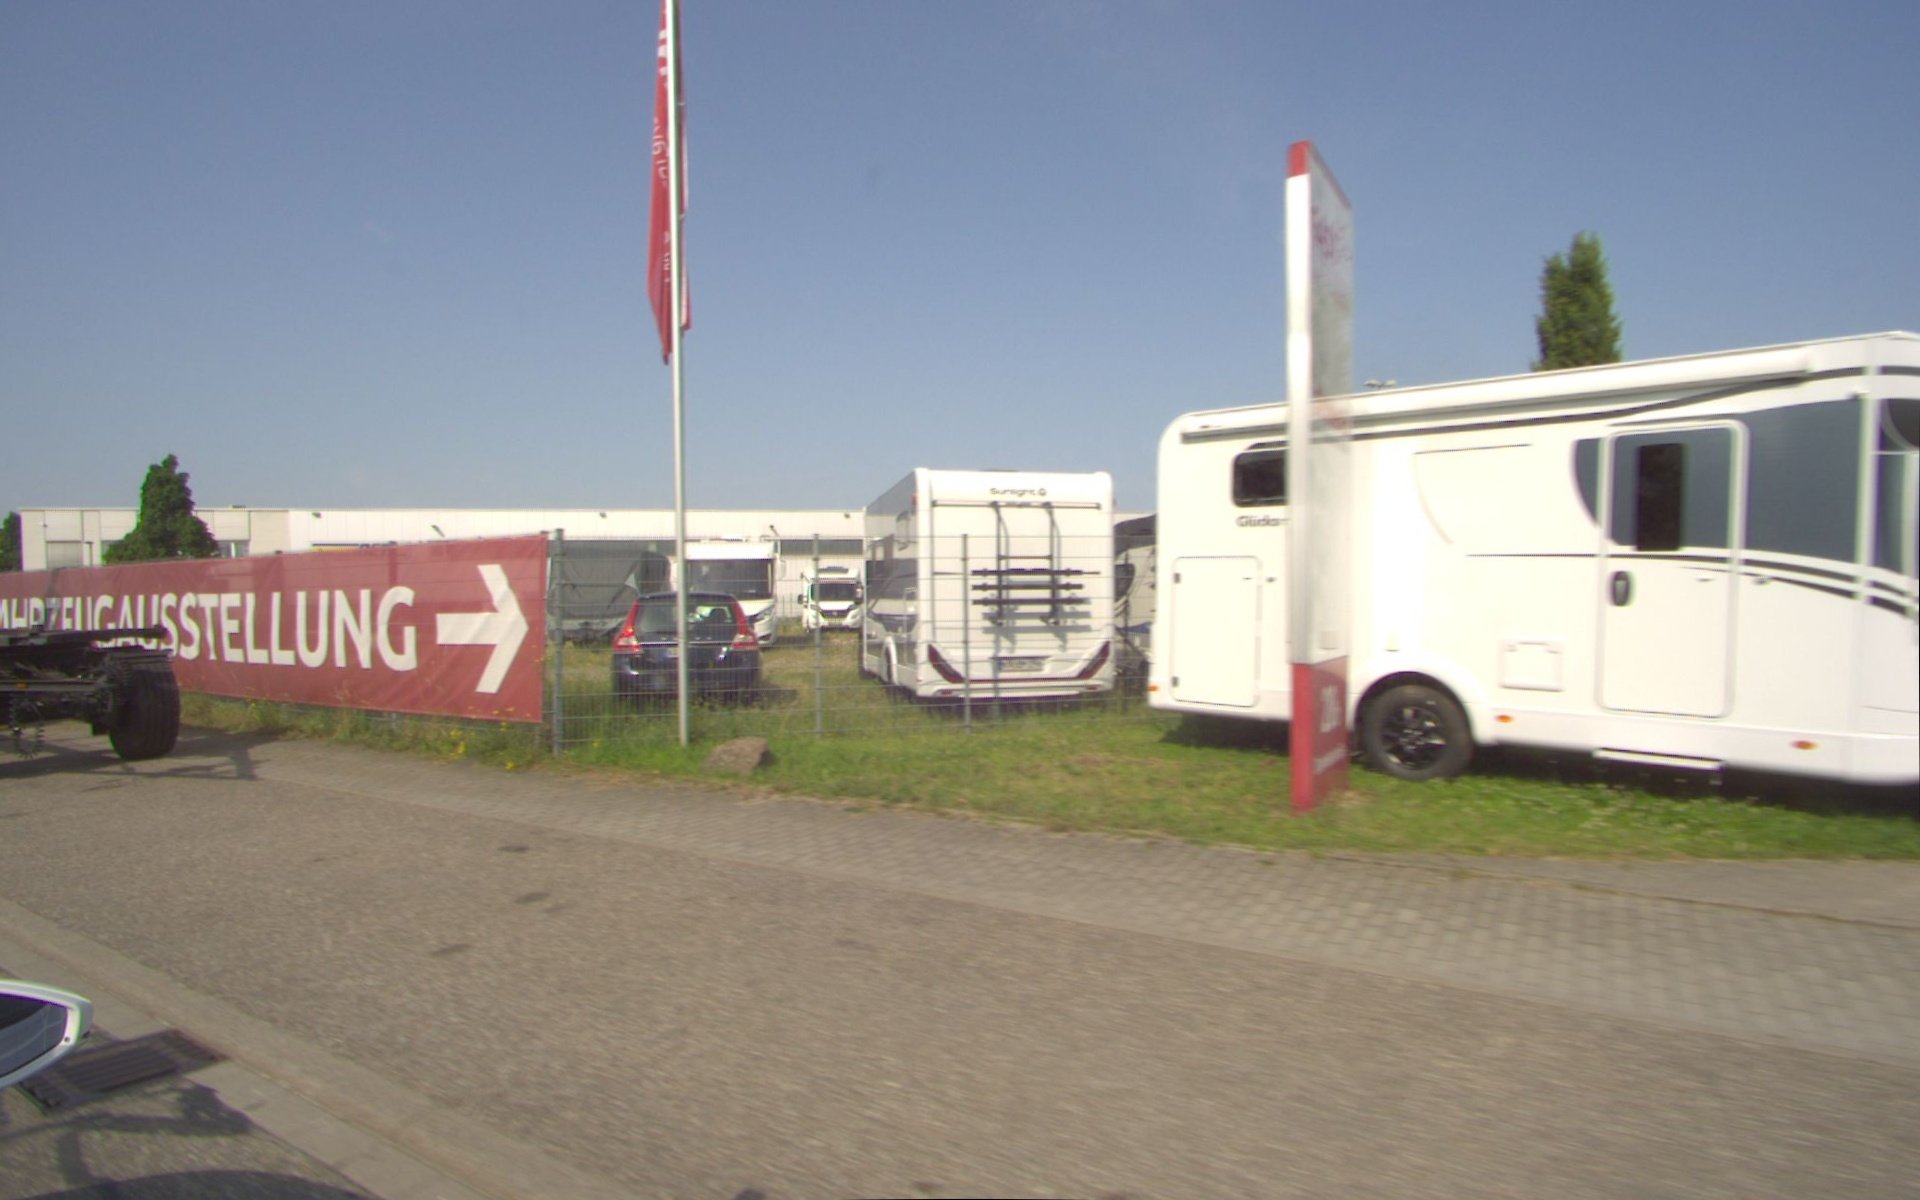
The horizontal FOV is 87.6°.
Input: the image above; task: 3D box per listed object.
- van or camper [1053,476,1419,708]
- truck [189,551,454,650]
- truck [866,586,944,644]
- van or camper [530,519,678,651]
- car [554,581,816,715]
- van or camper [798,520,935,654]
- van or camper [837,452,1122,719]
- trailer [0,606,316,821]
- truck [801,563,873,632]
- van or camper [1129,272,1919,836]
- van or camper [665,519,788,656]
[{"bbox_3d":[3.496,-0.082,14.678,2.445,2.593,6.618,0,0,-11],"label":"van or camper"},{"bbox_3d":[-26.934,0.030,42.714,9.144,4.025,2.455,0,0,-14],"label":"truck"},{"bbox_3d":[-2.568,0.606,43.813,2.412,2.295,7.995,0,0,-10],"label":"truck"},{"bbox_3d":[-9.392,-0.346,27.180,2.620,3.125,6.789,0,0,-9],"label":"van or camper"},{"bbox_3d":[-3.384,0.551,13.232,2.130,1.496,3.999,-1,0,4],"label":"car"},{"bbox_3d":[-2.829,-0.295,27.666,2.904,3.125,7.961,0,0,-12],"label":"van or camper"},{"bbox_3d":[-0.147,-0.145,13.983,2.445,2.788,6.617,0,0,-13],"label":"van or camper"},{"bbox_3d":[-10.178,0.856,10.102,9.322,1.407,2.616,-1,2,33],"label":"trailer"},{"bbox_3d":[-5.140,-0.065,40.728,2.412,2.504,7.995,0,0,-10],"label":"truck"},{"bbox_3d":[4.768,-0.227,7.113,6.891,2.982,2.319,0,0,41],"label":"van or camper"},{"bbox_3d":[-6.167,-0.277,26.930,2.755,3.125,7.961,0,0,-12],"label":"van or camper"}]
